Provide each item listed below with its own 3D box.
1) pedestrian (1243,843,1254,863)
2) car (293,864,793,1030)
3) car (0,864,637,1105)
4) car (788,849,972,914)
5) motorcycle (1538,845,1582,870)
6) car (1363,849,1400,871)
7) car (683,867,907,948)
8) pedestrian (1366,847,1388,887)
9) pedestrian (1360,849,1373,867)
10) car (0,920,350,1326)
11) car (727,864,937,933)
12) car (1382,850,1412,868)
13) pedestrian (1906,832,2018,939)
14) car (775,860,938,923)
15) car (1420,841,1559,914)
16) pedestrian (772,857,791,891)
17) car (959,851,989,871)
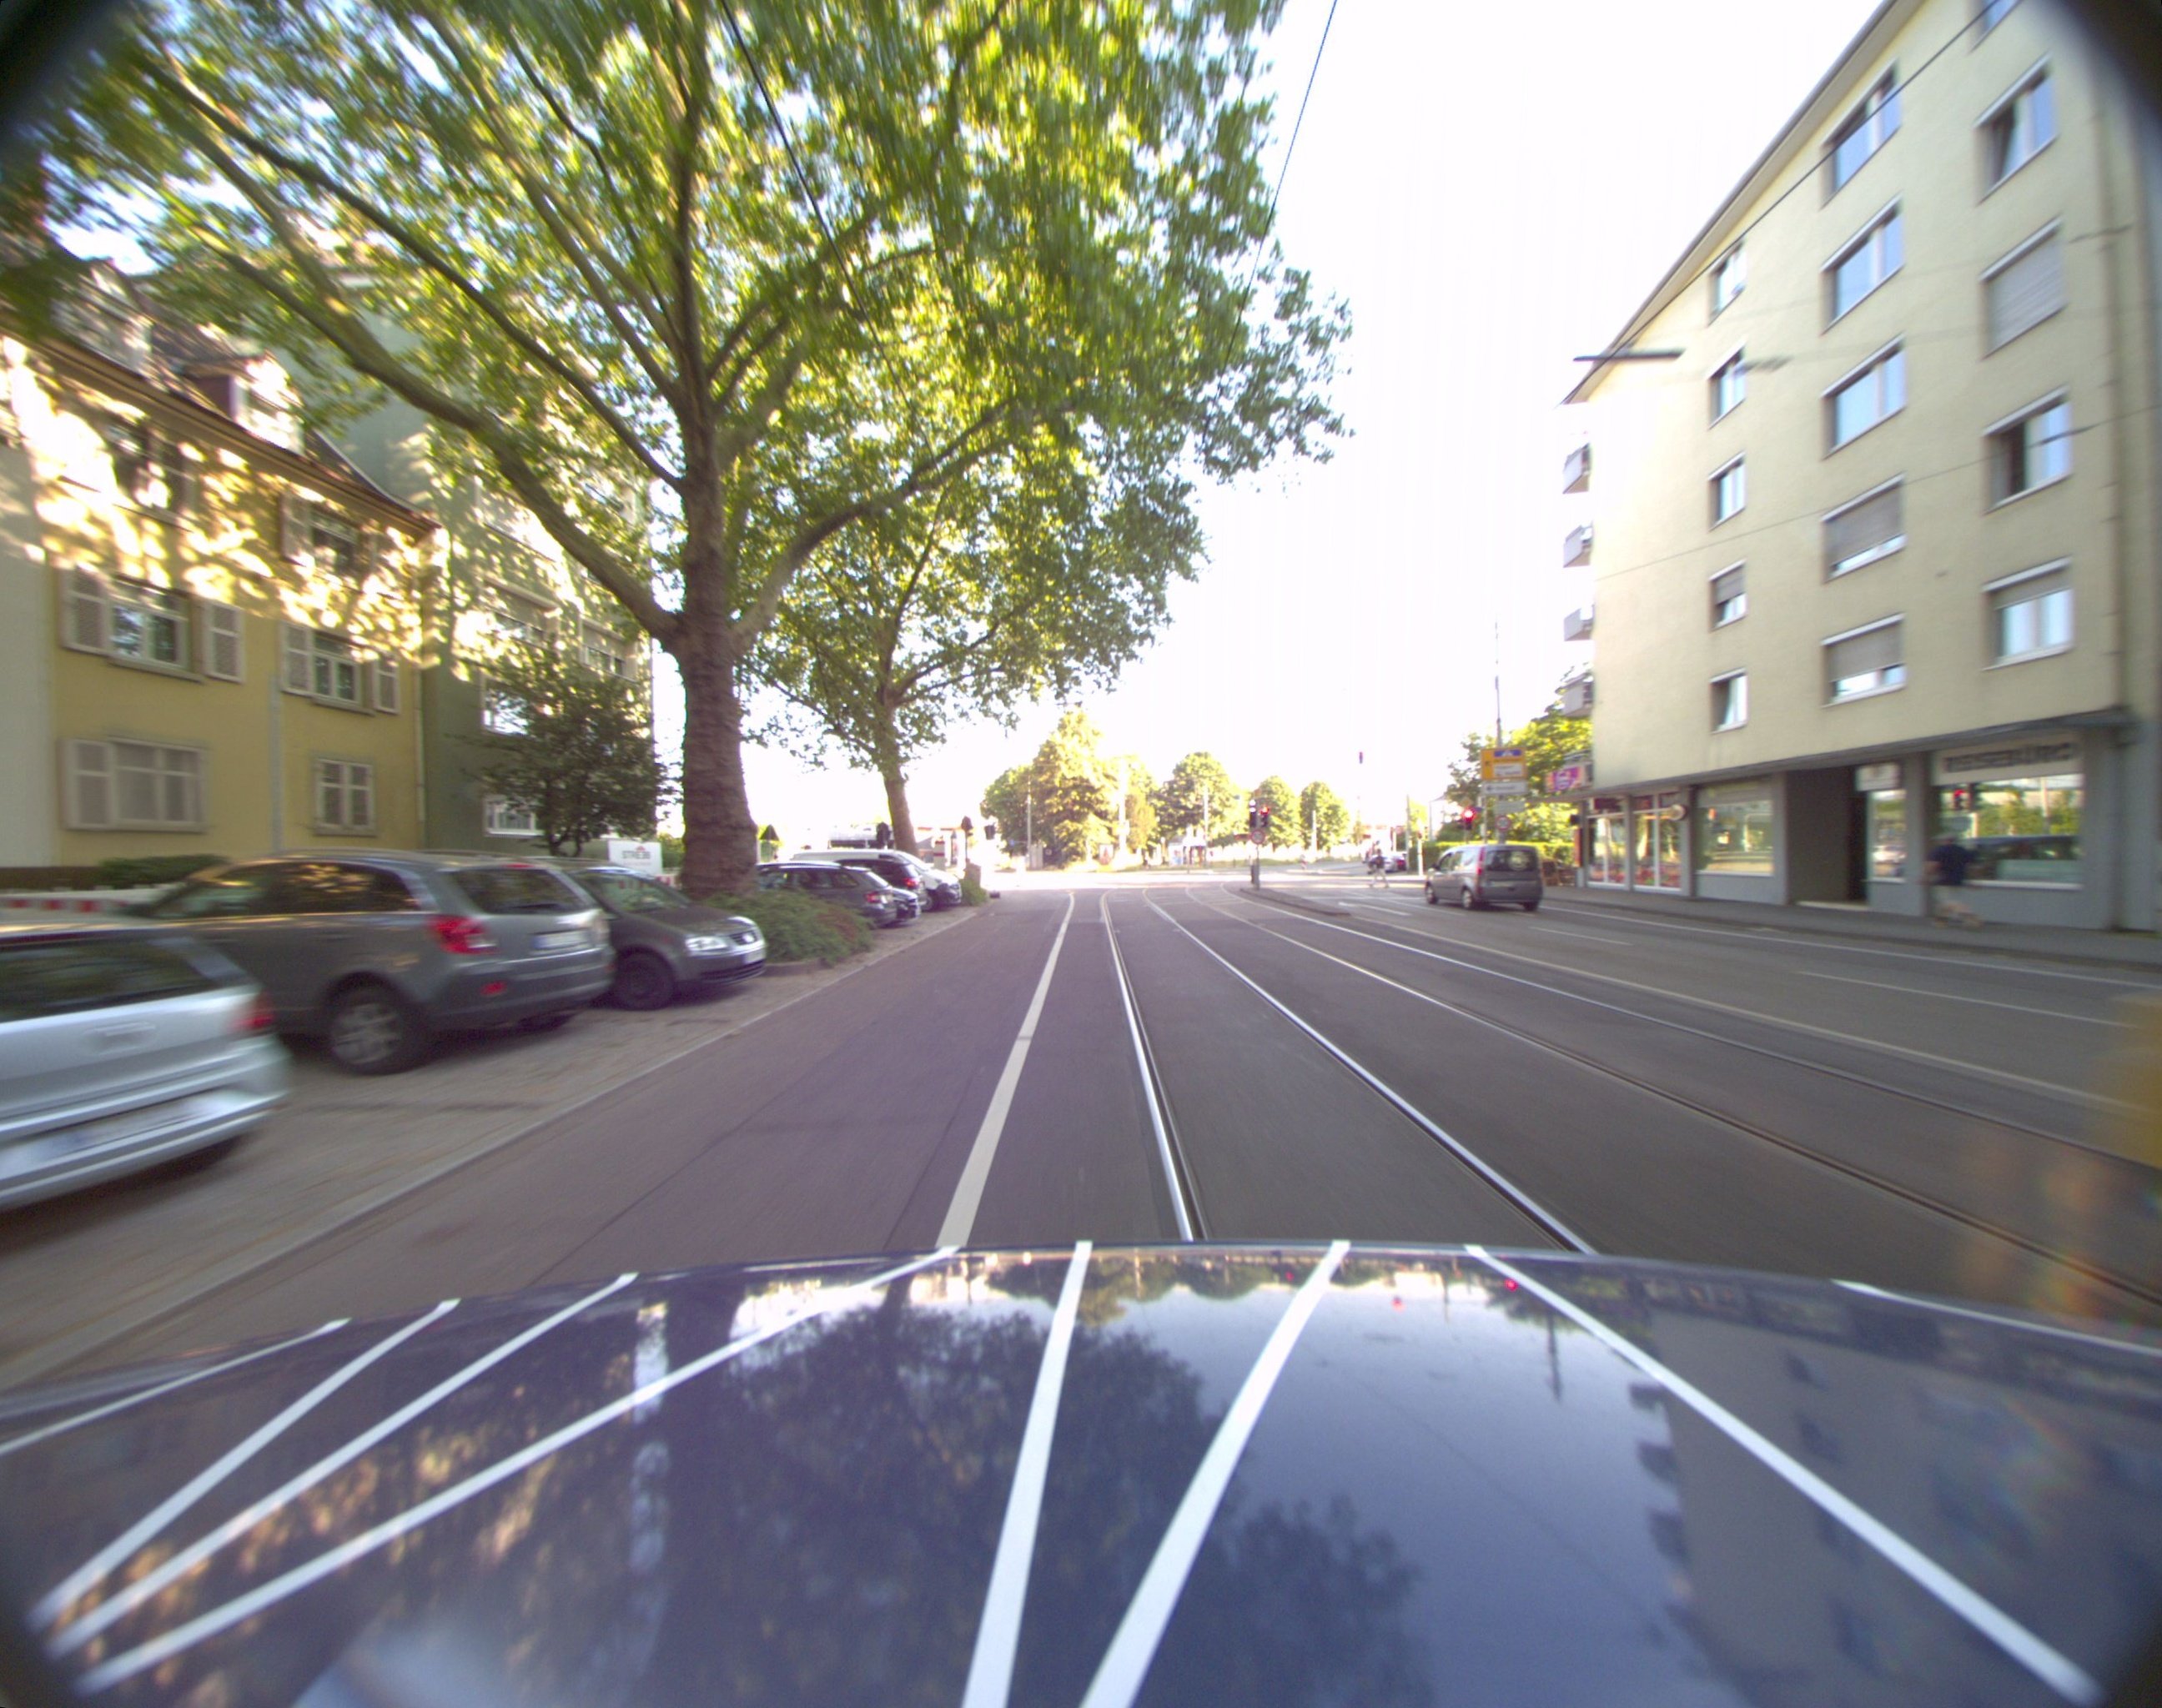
[{"bbox_3d":[17.543,-0.082,79.576,0.913,2.002,0.860,-2,1,-4],"label":"pedestrian"},{"bbox_3d":[-5.962,0.983,8.889,4.436,1.648,1.908,0,1,-1],"label":"car"},{"bbox_3d":[-6.516,0.961,6.581,4.318,1.721,1.841,0,0,5],"label":"car"},{"bbox_3d":[-6.062,0.808,23.321,5.126,1.845,1.914,0,2,0],"label":"car"},{"bbox_3d":[22.176,0.140,35.214,0.758,1.125,2.092,-2,1,1],"label":"motorcycle"},{"bbox_3d":[22.041,0.442,55.577,1.814,1.419,3.747,-3,-1,32],"label":"car"},{"bbox_3d":[-5.668,1.037,15.452,3.891,1.488,1.741,0,1,-2],"label":"car"},{"bbox_3d":[12.764,0.549,32.784,0.753,1.670,0.794,-1,1,16],"label":"pedestrian"},{"bbox_3d":[32.746,0.467,87.150,1.001,2.002,0.876,-2,1,-20],"label":"pedestrian"},{"bbox_3d":[-5.984,1.088,3.404,3.660,1.416,1.866,1,0,2],"label":"car"},{"bbox_3d":[-5.864,1.029,18.231,4.410,1.514,1.818,0,0,1],"label":"car"},{"bbox_3d":[24.781,0.376,59.565,1.638,1.315,3.345,-3,-1,32],"label":"car"},{"bbox_3d":[14.701,0.502,12.705,0.717,1.664,0.904,-5,1,2],"label":"pedestrian"},{"bbox_3d":[-6.042,0.988,20.782,3.884,1.596,1.795,0,0,0],"label":"car"},{"bbox_3d":[11.137,0.569,21.095,1.997,1.822,4.226,-1,1,6],"label":"car"},{"bbox_3d":[-14.726,0.984,37.392,0.688,1.622,0.640,-2,1,-36],"label":"pedestrian"},{"bbox_3d":[-8.577,0.565,61.285,1.640,1.428,3.573,-4,-1,3],"label":"car"}]
